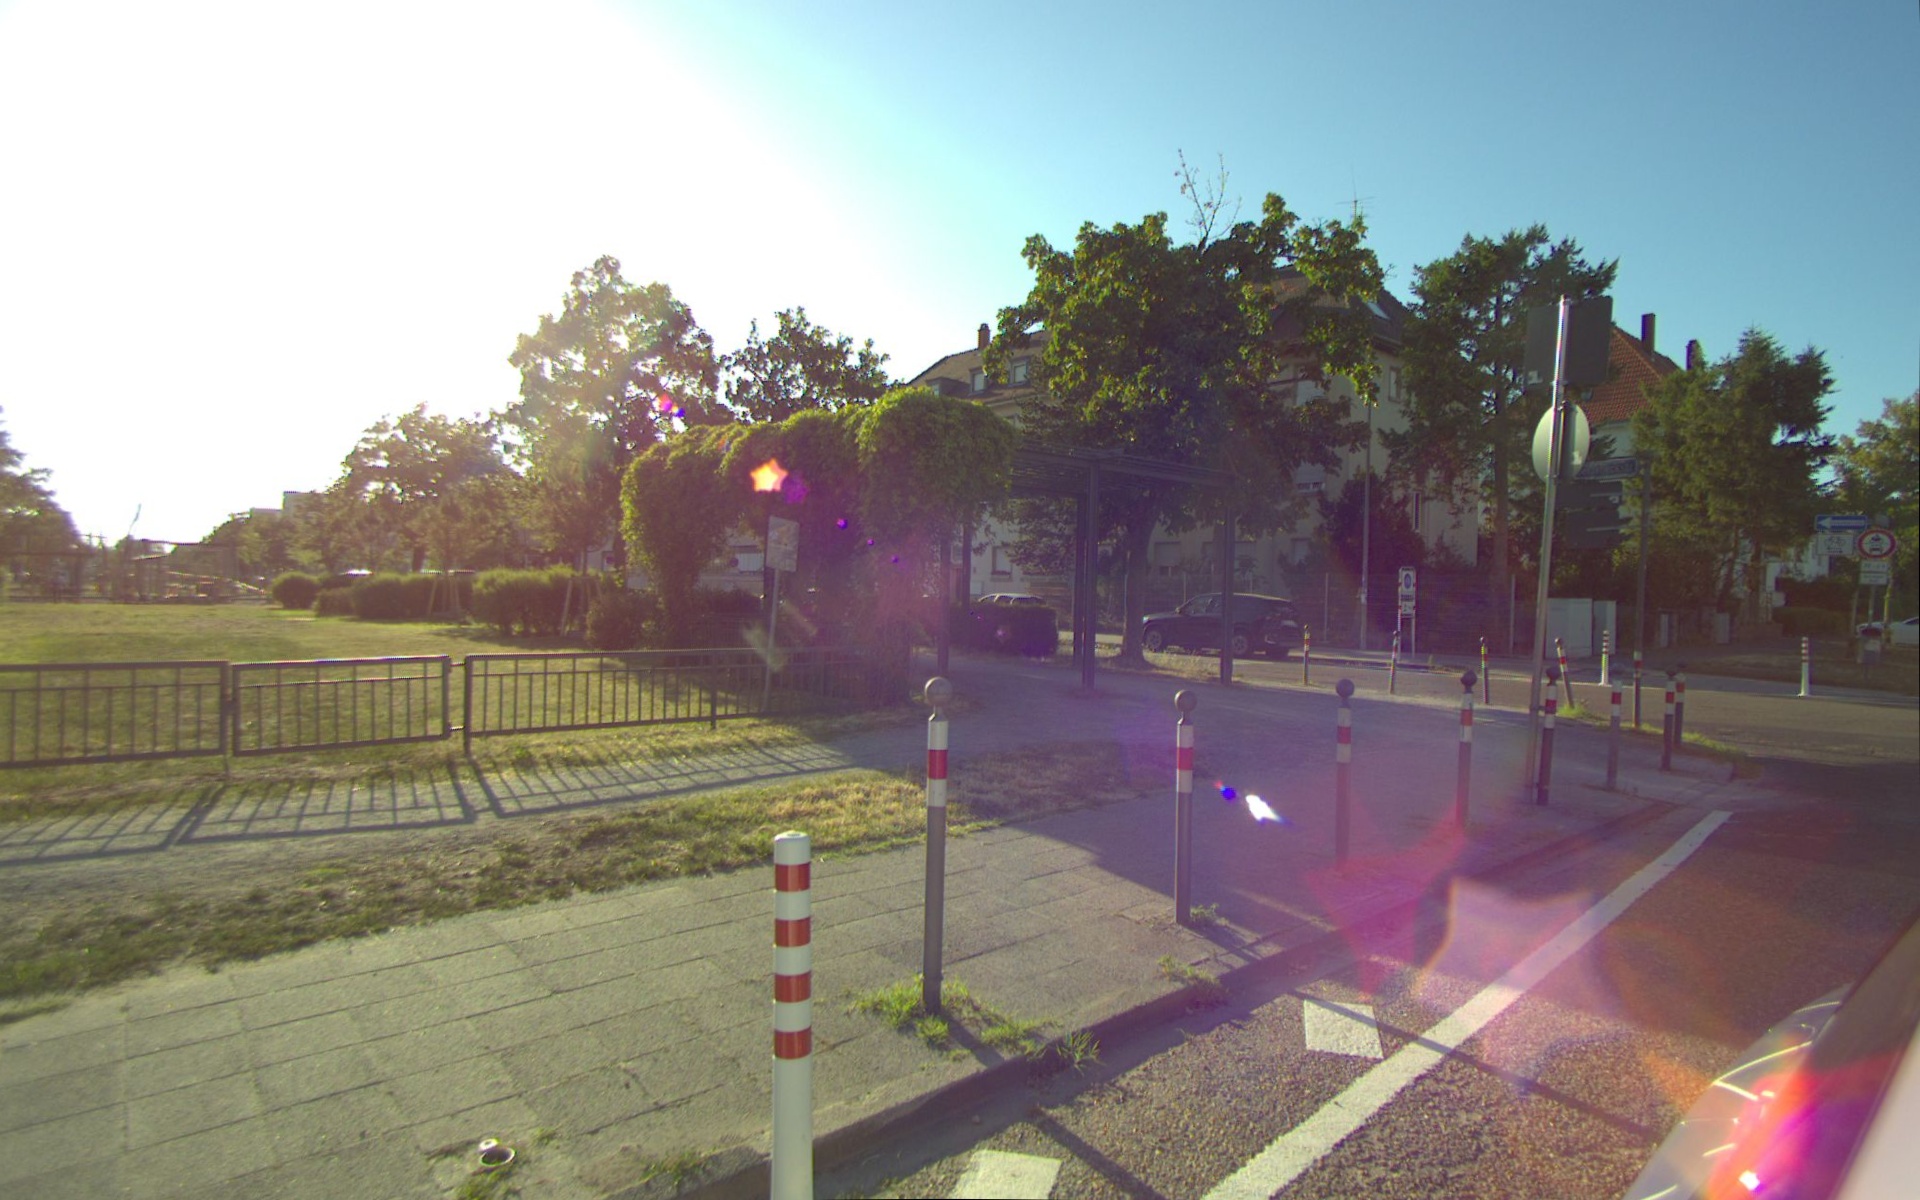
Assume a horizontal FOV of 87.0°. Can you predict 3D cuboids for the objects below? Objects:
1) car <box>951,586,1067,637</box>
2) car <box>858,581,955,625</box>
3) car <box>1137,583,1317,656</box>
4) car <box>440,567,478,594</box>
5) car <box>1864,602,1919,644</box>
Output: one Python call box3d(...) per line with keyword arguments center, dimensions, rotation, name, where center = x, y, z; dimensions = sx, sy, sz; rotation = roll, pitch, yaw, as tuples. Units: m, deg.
box3d(center=(1.556, 0.334, 33.197), dimensions=(1.739, 1.545, 3.769), rotation=(0, 1, -39), name="car")
box3d(center=(-2.010, 0.079, 37.278), dimensions=(1.704, 1.537, 3.757), rotation=(1, 1, -38), name="car")
box3d(center=(6.812, 0.469, 26.166), dimensions=(1.790, 1.662, 4.211), rotation=(4, -2, -40), name="car")
box3d(center=(-41.494, -1.619, 83.843), dimensions=(1.964, 2.150, 3.996), rotation=(1, 0, -39), name="car")
box3d(center=(39.470, 0.979, 40.436), dimensions=(1.938, 1.634, 4.830), rotation=(1, 1, -42), name="car")
